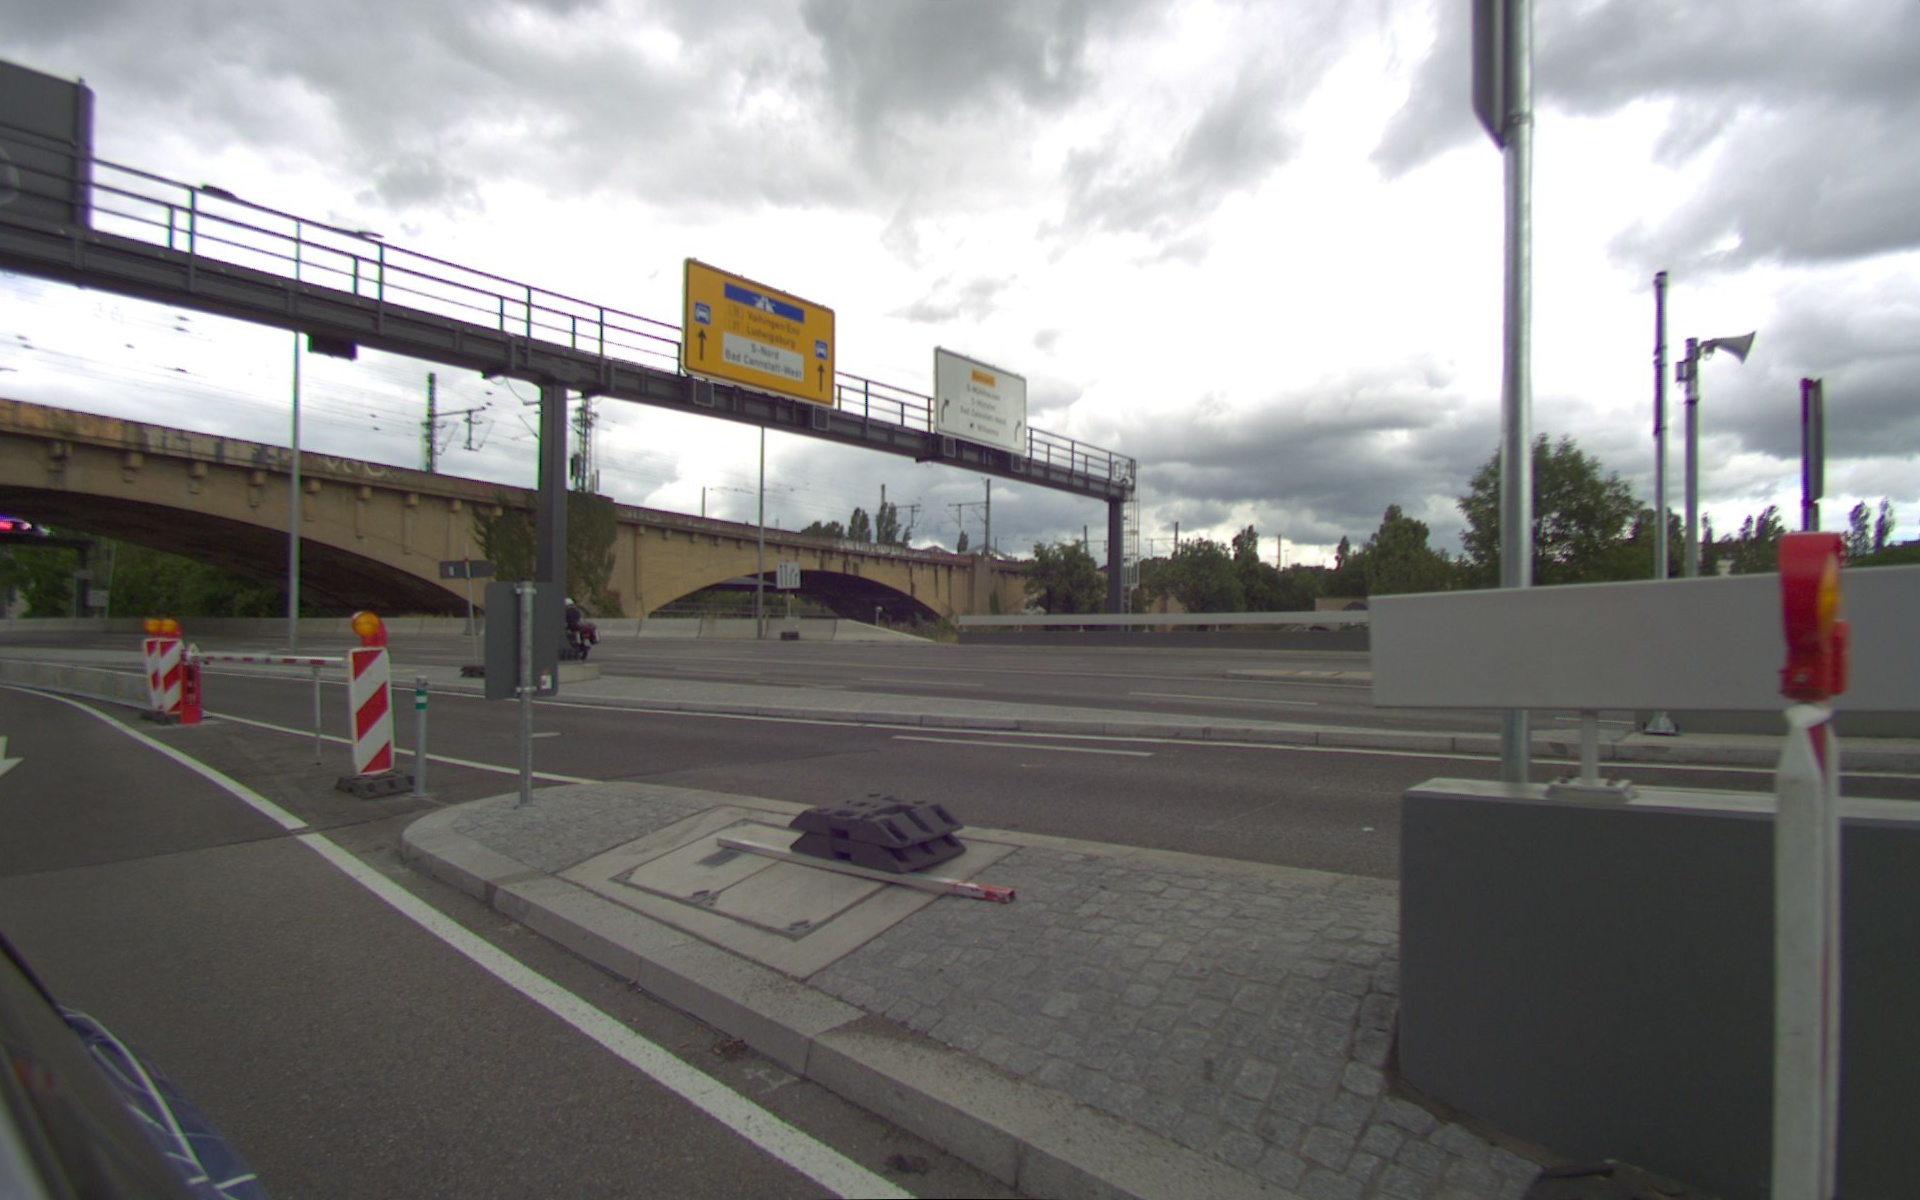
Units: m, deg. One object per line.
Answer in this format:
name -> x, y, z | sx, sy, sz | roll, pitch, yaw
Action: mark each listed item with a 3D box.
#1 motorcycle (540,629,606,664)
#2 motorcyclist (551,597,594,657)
motorcycle -> -10.679, 1.270, 27.903 | 2.393, 0.924, 0.658 | -2, -1, 41
motorcyclist -> -10.683, 0.750, 27.902 | 1.102, 1.618, 0.658 | -2, -1, 41
